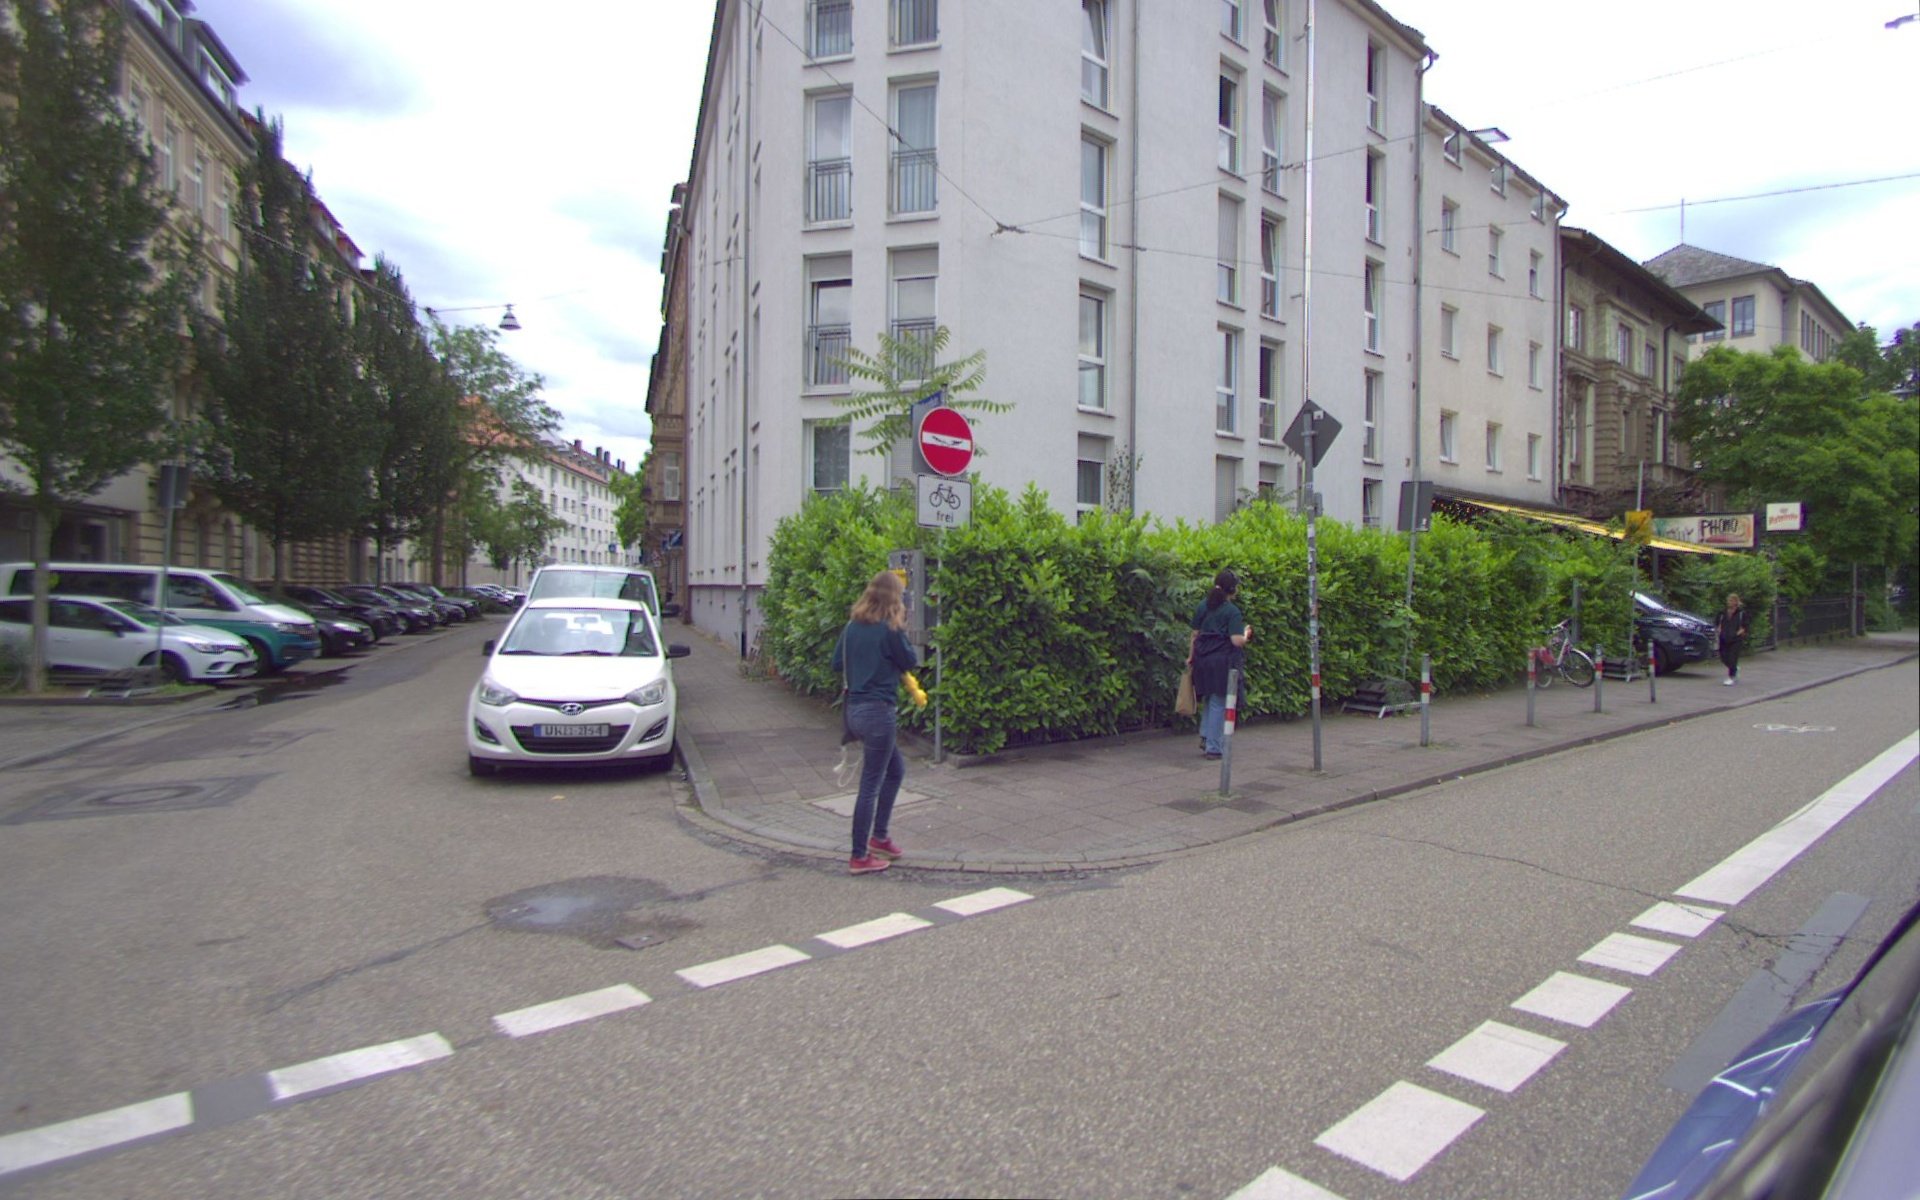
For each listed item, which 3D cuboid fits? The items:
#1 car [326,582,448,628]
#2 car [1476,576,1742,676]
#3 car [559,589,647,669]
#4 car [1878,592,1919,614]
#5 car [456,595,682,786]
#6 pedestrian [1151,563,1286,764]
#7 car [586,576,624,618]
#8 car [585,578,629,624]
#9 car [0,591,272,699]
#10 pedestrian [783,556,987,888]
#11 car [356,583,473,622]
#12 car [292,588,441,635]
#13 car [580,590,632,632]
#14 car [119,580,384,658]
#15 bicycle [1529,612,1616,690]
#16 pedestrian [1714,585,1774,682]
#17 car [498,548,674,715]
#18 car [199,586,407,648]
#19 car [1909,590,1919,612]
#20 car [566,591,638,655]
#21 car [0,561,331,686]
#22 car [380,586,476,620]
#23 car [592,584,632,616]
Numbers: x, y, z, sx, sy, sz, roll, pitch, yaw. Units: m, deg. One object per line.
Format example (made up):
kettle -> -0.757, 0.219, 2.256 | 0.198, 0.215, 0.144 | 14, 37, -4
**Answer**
car -> -21.003, 0.168, 37.244 | 3.630, 1.618, 1.610 | 0, 0, -18
car -> 13.303, 0.446, 20.989 | 1.790, 1.831, 4.292 | 0, 1, -38
car -> -7.267, 0.533, 20.698 | 1.534, 1.471, 3.831 | 1, 0, -19
car -> 63.731, 0.203, 66.818 | 4.272, 1.420, 1.745 | 1, 0, 17
car -> -3.633, 0.694, 9.802 | 1.636, 1.449, 3.829 | 1, 0, -18
pedestrian -> 2.258, 0.509, 8.894 | 0.819, 1.656, 0.797 | -1, 2, -25
car -> -17.039, -0.144, 48.663 | 1.592, 1.921, 3.705 | 0, 0, -18
car -> -14.643, 0.005, 42.117 | 1.603, 1.813, 4.579 | 0, 1, -18
car -> -13.656, 0.667, 16.102 | 4.126, 1.539, 1.778 | -1, 1, -17
pedestrian -> -0.443, 0.614, 5.700 | 0.890, 1.677, 0.877 | 0, 0, -25
car -> -23.496, 0.099, 43.738 | 4.143, 1.631, 1.715 | 0, 0, -14
car -> -19.220, 0.348, 32.931 | 3.916, 1.460, 1.610 | 0, 0, -16
car -> -12.764, 0.353, 36.605 | 1.653, 1.414, 3.763 | 0, 0, -17
car -> -15.845, 0.387, 22.938 | 4.505, 1.631, 2.004 | 0, 0, -17
bicycle -> 9.774, 0.789, 16.121 | 1.780, 1.142, 0.634 | 1, 2, -41
pedestrian -> 14.335, 0.588, 18.503 | 0.943, 1.691, 0.624 | 0, 3, -41
car -> -5.217, 0.356, 14.432 | 1.935, 1.963, 4.755 | 1, 0, -18
car -> -17.509, 0.414, 27.219 | 4.318, 1.572, 1.907 | 0, 0, -16
car -> 70.002, 0.096, 71.260 | 4.285, 1.571, 1.733 | 1, 0, 28
car -> -8.968, 0.510, 25.457 | 1.580, 1.466, 3.830 | 0, 0, -18
car -> -14.354, 0.343, 18.316 | 4.689, 2.070, 1.899 | -1, 1, -19
car -> -23.855, 0.127, 45.498 | 3.592, 1.501, 1.456 | 0, 0, -15
car -> -18.374, -0.011, 53.552 | 1.860, 1.631, 4.510 | 0, 1, -18
